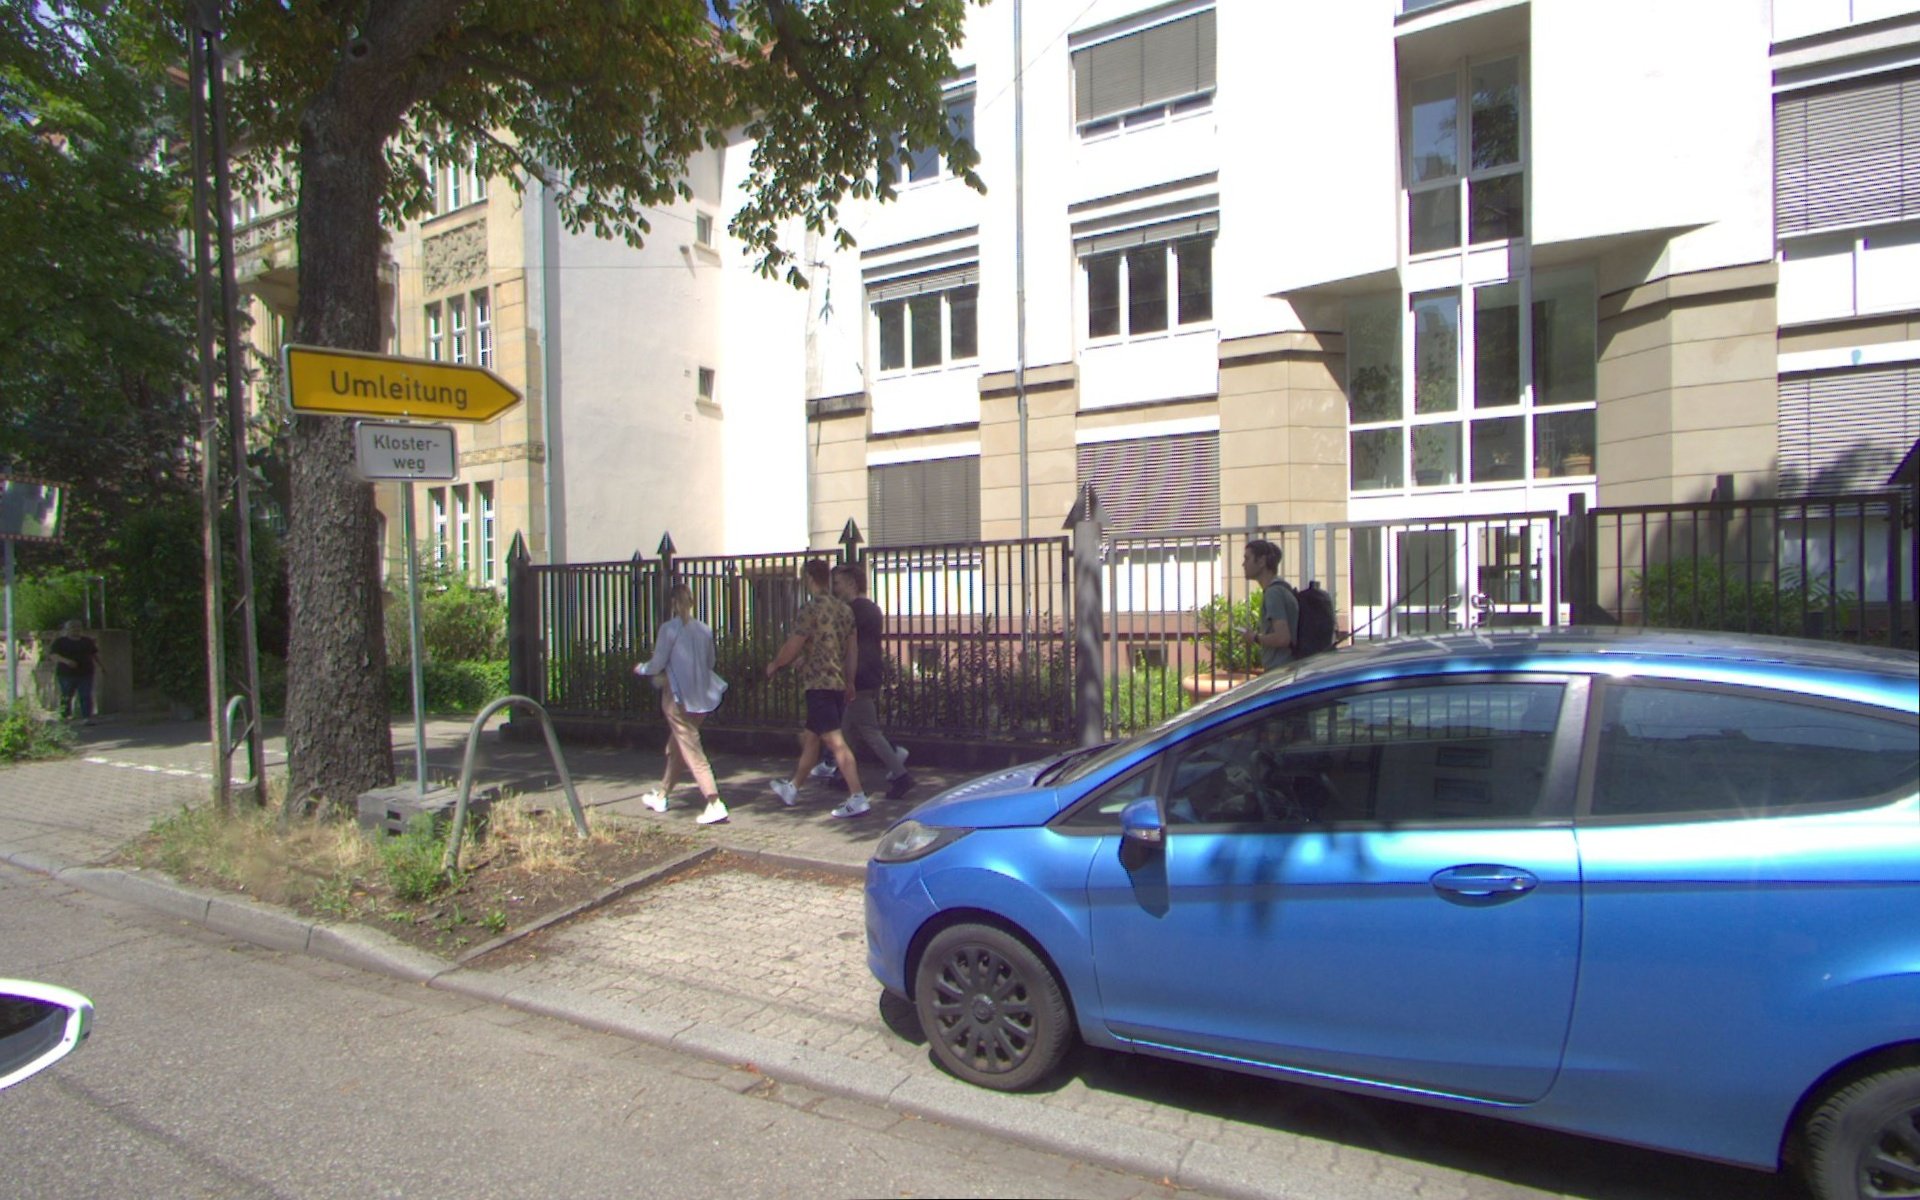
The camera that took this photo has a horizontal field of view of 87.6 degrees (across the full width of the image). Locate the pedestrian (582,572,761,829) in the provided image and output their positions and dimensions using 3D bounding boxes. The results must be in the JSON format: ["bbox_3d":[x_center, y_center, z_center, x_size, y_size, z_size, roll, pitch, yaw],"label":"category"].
[{"bbox_3d":[-2.032,0.661,7.082,0.959,1.673,0.765,0,0,31],"label":"pedestrian"}]

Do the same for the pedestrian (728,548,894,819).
[{"bbox_3d":[-1.059,0.565,7.173,0.932,1.800,0.704,0,0,27],"label":"pedestrian"}]

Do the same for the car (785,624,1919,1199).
[{"bbox_3d":[1.373,0.832,3.481,3.663,1.462,1.676,-1,0,28],"label":"car"}]

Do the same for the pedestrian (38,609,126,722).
[{"bbox_3d":[-13.611,0.988,15.531,0.826,1.667,0.854,-1,0,36],"label":"pedestrian"}]

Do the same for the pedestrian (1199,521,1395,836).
[{"bbox_3d":[2.142,0.463,6.350,1.067,1.821,0.683,0,0,29],"label":"pedestrian"}]

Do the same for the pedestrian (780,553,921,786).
[{"bbox_3d":[-0.913,0.555,8.390,0.962,1.835,0.660,0,0,29],"label":"pedestrian"}]

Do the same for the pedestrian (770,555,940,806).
[{"bbox_3d":[-0.800,0.581,7.702,1.036,1.785,0.787,0,0,29],"label":"pedestrian"}]
